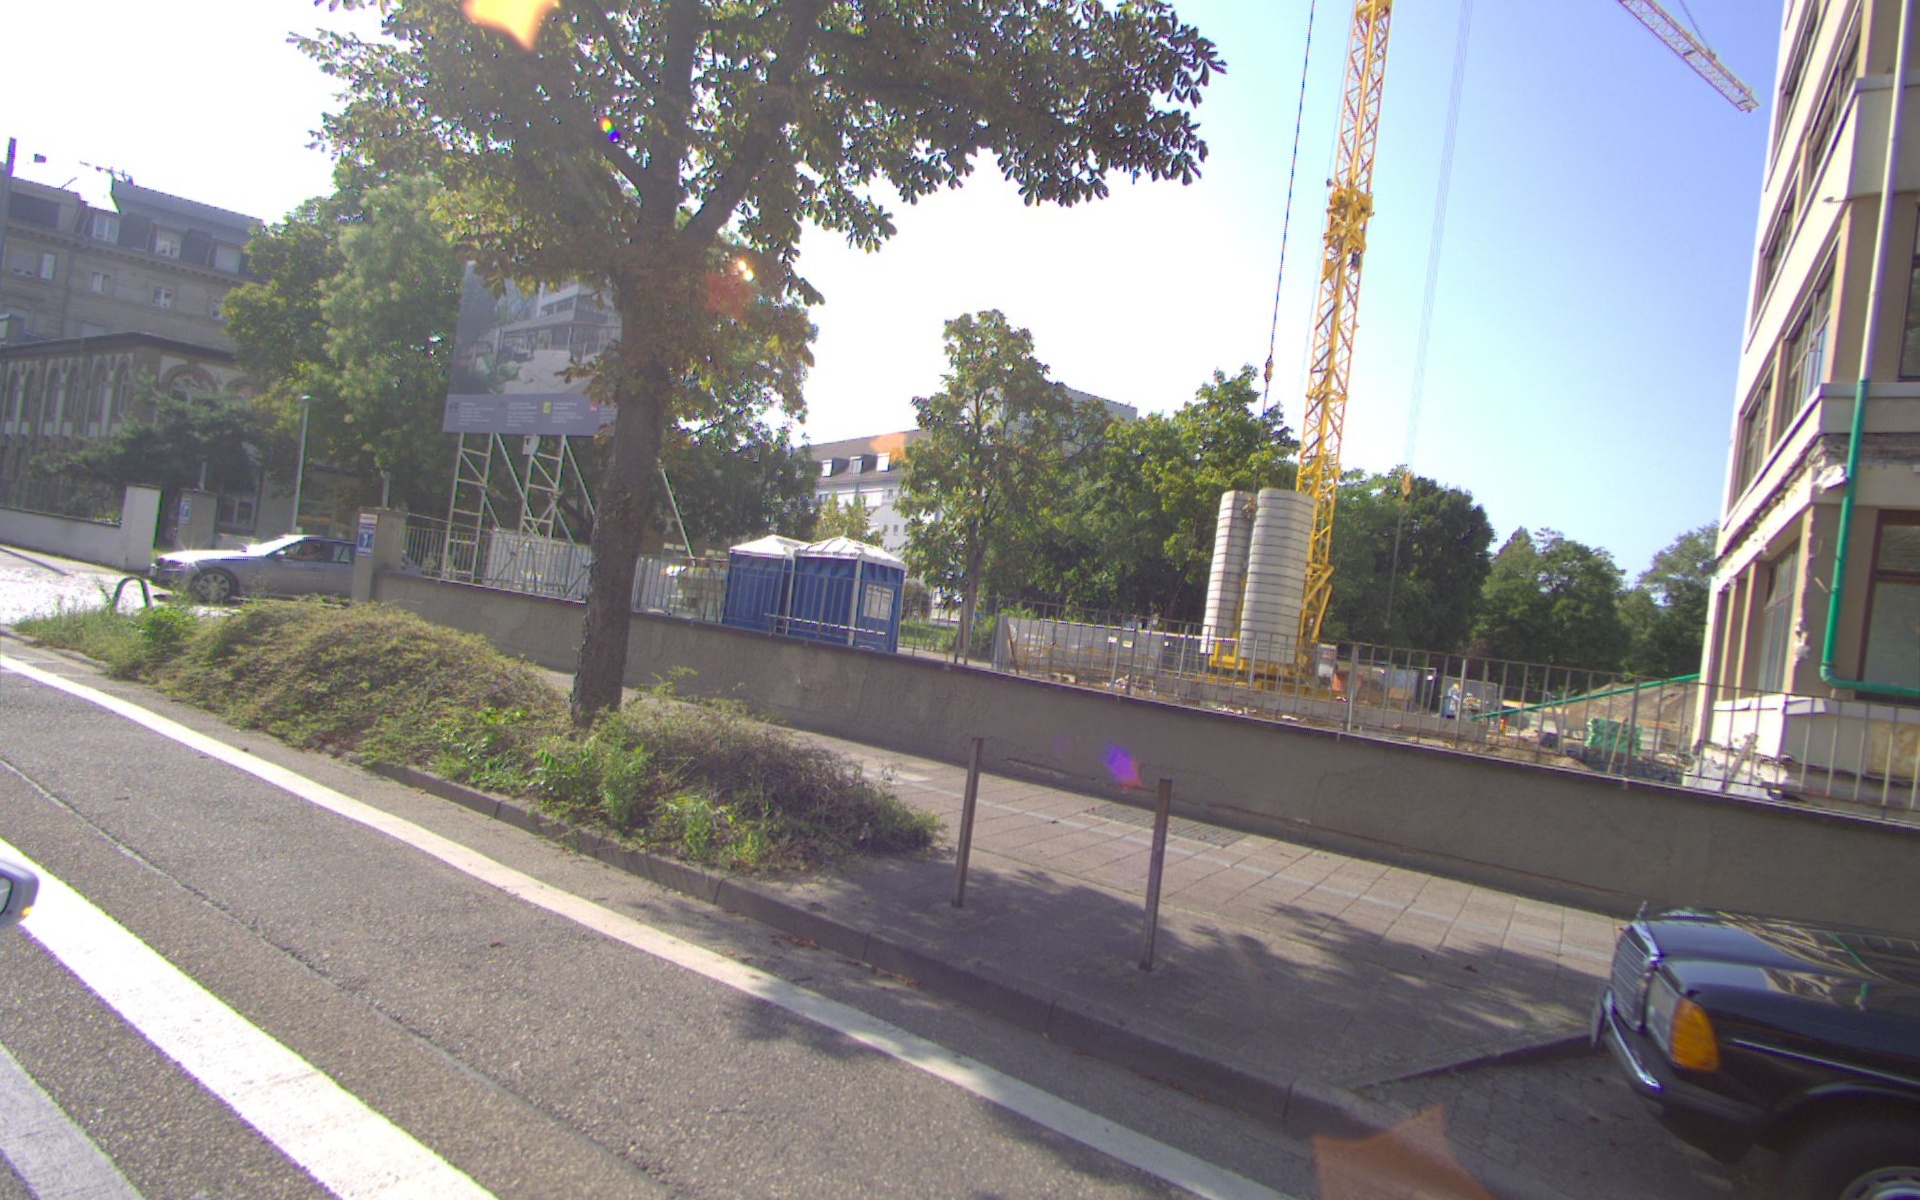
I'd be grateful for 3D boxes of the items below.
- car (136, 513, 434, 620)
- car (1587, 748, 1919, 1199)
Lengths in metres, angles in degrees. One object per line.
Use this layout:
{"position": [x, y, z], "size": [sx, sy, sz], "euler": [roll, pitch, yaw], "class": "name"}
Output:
{"position": [-12.962, -0.592, 19.561], "size": [1.780, 1.426, 4.416], "euler": [7, -1, 41], "class": "car"}
{"position": [4.451, 1.552, 2.628], "size": [4.642, 1.395, 1.755], "euler": [7, 0, 33], "class": "car"}
